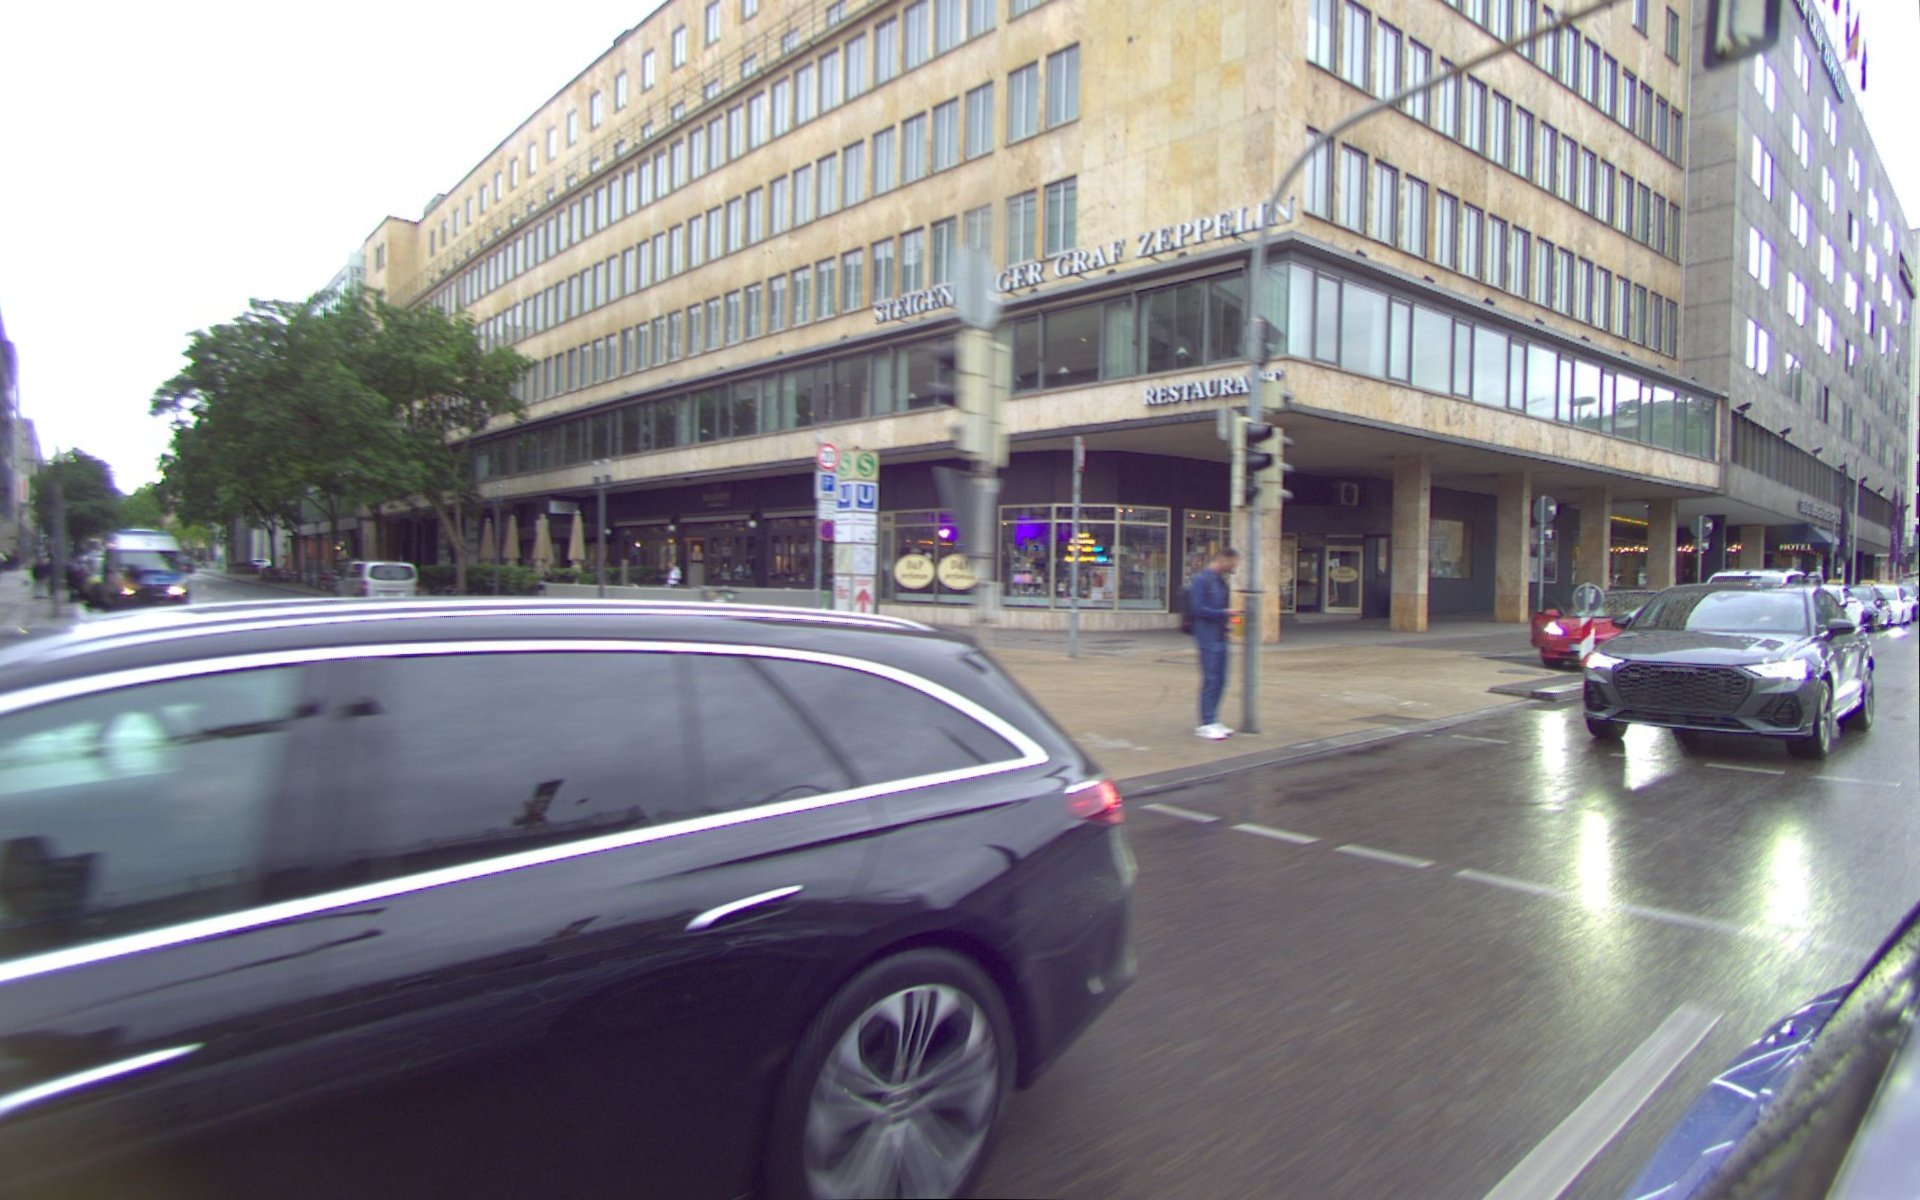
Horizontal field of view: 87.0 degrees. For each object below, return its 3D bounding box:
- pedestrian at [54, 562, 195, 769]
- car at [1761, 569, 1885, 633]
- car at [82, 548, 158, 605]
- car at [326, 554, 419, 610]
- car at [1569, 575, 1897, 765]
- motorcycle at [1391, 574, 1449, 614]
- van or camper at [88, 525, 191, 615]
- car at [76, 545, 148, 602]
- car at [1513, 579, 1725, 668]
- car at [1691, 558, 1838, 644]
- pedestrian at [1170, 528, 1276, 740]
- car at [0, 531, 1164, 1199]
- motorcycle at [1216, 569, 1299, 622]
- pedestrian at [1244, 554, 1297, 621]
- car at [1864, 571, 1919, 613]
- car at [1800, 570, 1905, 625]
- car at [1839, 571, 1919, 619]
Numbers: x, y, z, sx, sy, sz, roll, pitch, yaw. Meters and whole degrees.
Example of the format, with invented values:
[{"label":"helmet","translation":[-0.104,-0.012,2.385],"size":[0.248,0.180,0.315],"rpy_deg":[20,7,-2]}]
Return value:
[{"label":"pedestrian","translation":[-7.698,0.553,9.374],"size":[0.968,1.784,0.894],"rpy_deg":[0,1,-38]},{"label":"car","translation":[24.689,-0.035,28.877],"size":[5.046,1.674,1.997],"rpy_deg":[-1,1,-41]},{"label":"car","translation":[-32.566,-0.906,39.189],"size":[2.126,2.073,4.405],"rpy_deg":[-1,1,-42]},{"label":"car","translation":[-21.735,-0.666,37.333],"size":[1.966,1.950,5.157],"rpy_deg":[0,1,-42]},{"label":"car","translation":[7.914,0.520,10.221],"size":[4.092,1.527,1.875],"rpy_deg":[-1,1,-41]},{"label":"motorcycle","translation":[14.832,-0.221,32.619],"size":[2.492,1.246,0.730],"rpy_deg":[-1,1,-41]},{"label":"van or camper","translation":[-27.080,-0.969,33.459],"size":[2.452,2.673,6.005],"rpy_deg":[-1,1,-39]},{"label":"car","translation":[-36.623,-1.152,43.688],"size":[2.294,2.324,4.690],"rpy_deg":[-1,1,-41]},{"label":"car","translation":[12.260,0.333,18.730],"size":[4.405,1.431,2.192],"rpy_deg":[-1,2,-41]},{"label":"car","translation":[19.779,-0.031,24.799],"size":[4.910,1.908,1.997],"rpy_deg":[-1,1,-41]},{"label":"pedestrian","translation":[2.537,0.301,9.768],"size":[0.779,1.943,0.674],"rpy_deg":[0,0,-41]},{"label":"car","translation":[-1.780,0.641,1.918],"size":[4.618,1.482,1.821],"rpy_deg":[-1,1,-41]},{"label":"motorcycle","translation":[8.675,-0.143,29.442],"size":[2.801,1.471,0.963],"rpy_deg":[-1,1,-41]},{"label":"pedestrian","translation":[8.935,-0.385,29.142],"size":[1.089,1.870,1.000],"rpy_deg":[-1,2,-39]},{"label":"car","translation":[38.176,-0.345,40.821],"size":[4.833,1.635,1.997],"rpy_deg":[-1,1,-41]},{"label":"car","translation":[29.016,-0.114,32.854],"size":[4.481,1.656,1.997],"rpy_deg":[-1,1,-41]},{"label":"car","translation":[33.572,-0.217,36.649],"size":[4.792,1.629,1.997],"rpy_deg":[-1,1,-41]}]
